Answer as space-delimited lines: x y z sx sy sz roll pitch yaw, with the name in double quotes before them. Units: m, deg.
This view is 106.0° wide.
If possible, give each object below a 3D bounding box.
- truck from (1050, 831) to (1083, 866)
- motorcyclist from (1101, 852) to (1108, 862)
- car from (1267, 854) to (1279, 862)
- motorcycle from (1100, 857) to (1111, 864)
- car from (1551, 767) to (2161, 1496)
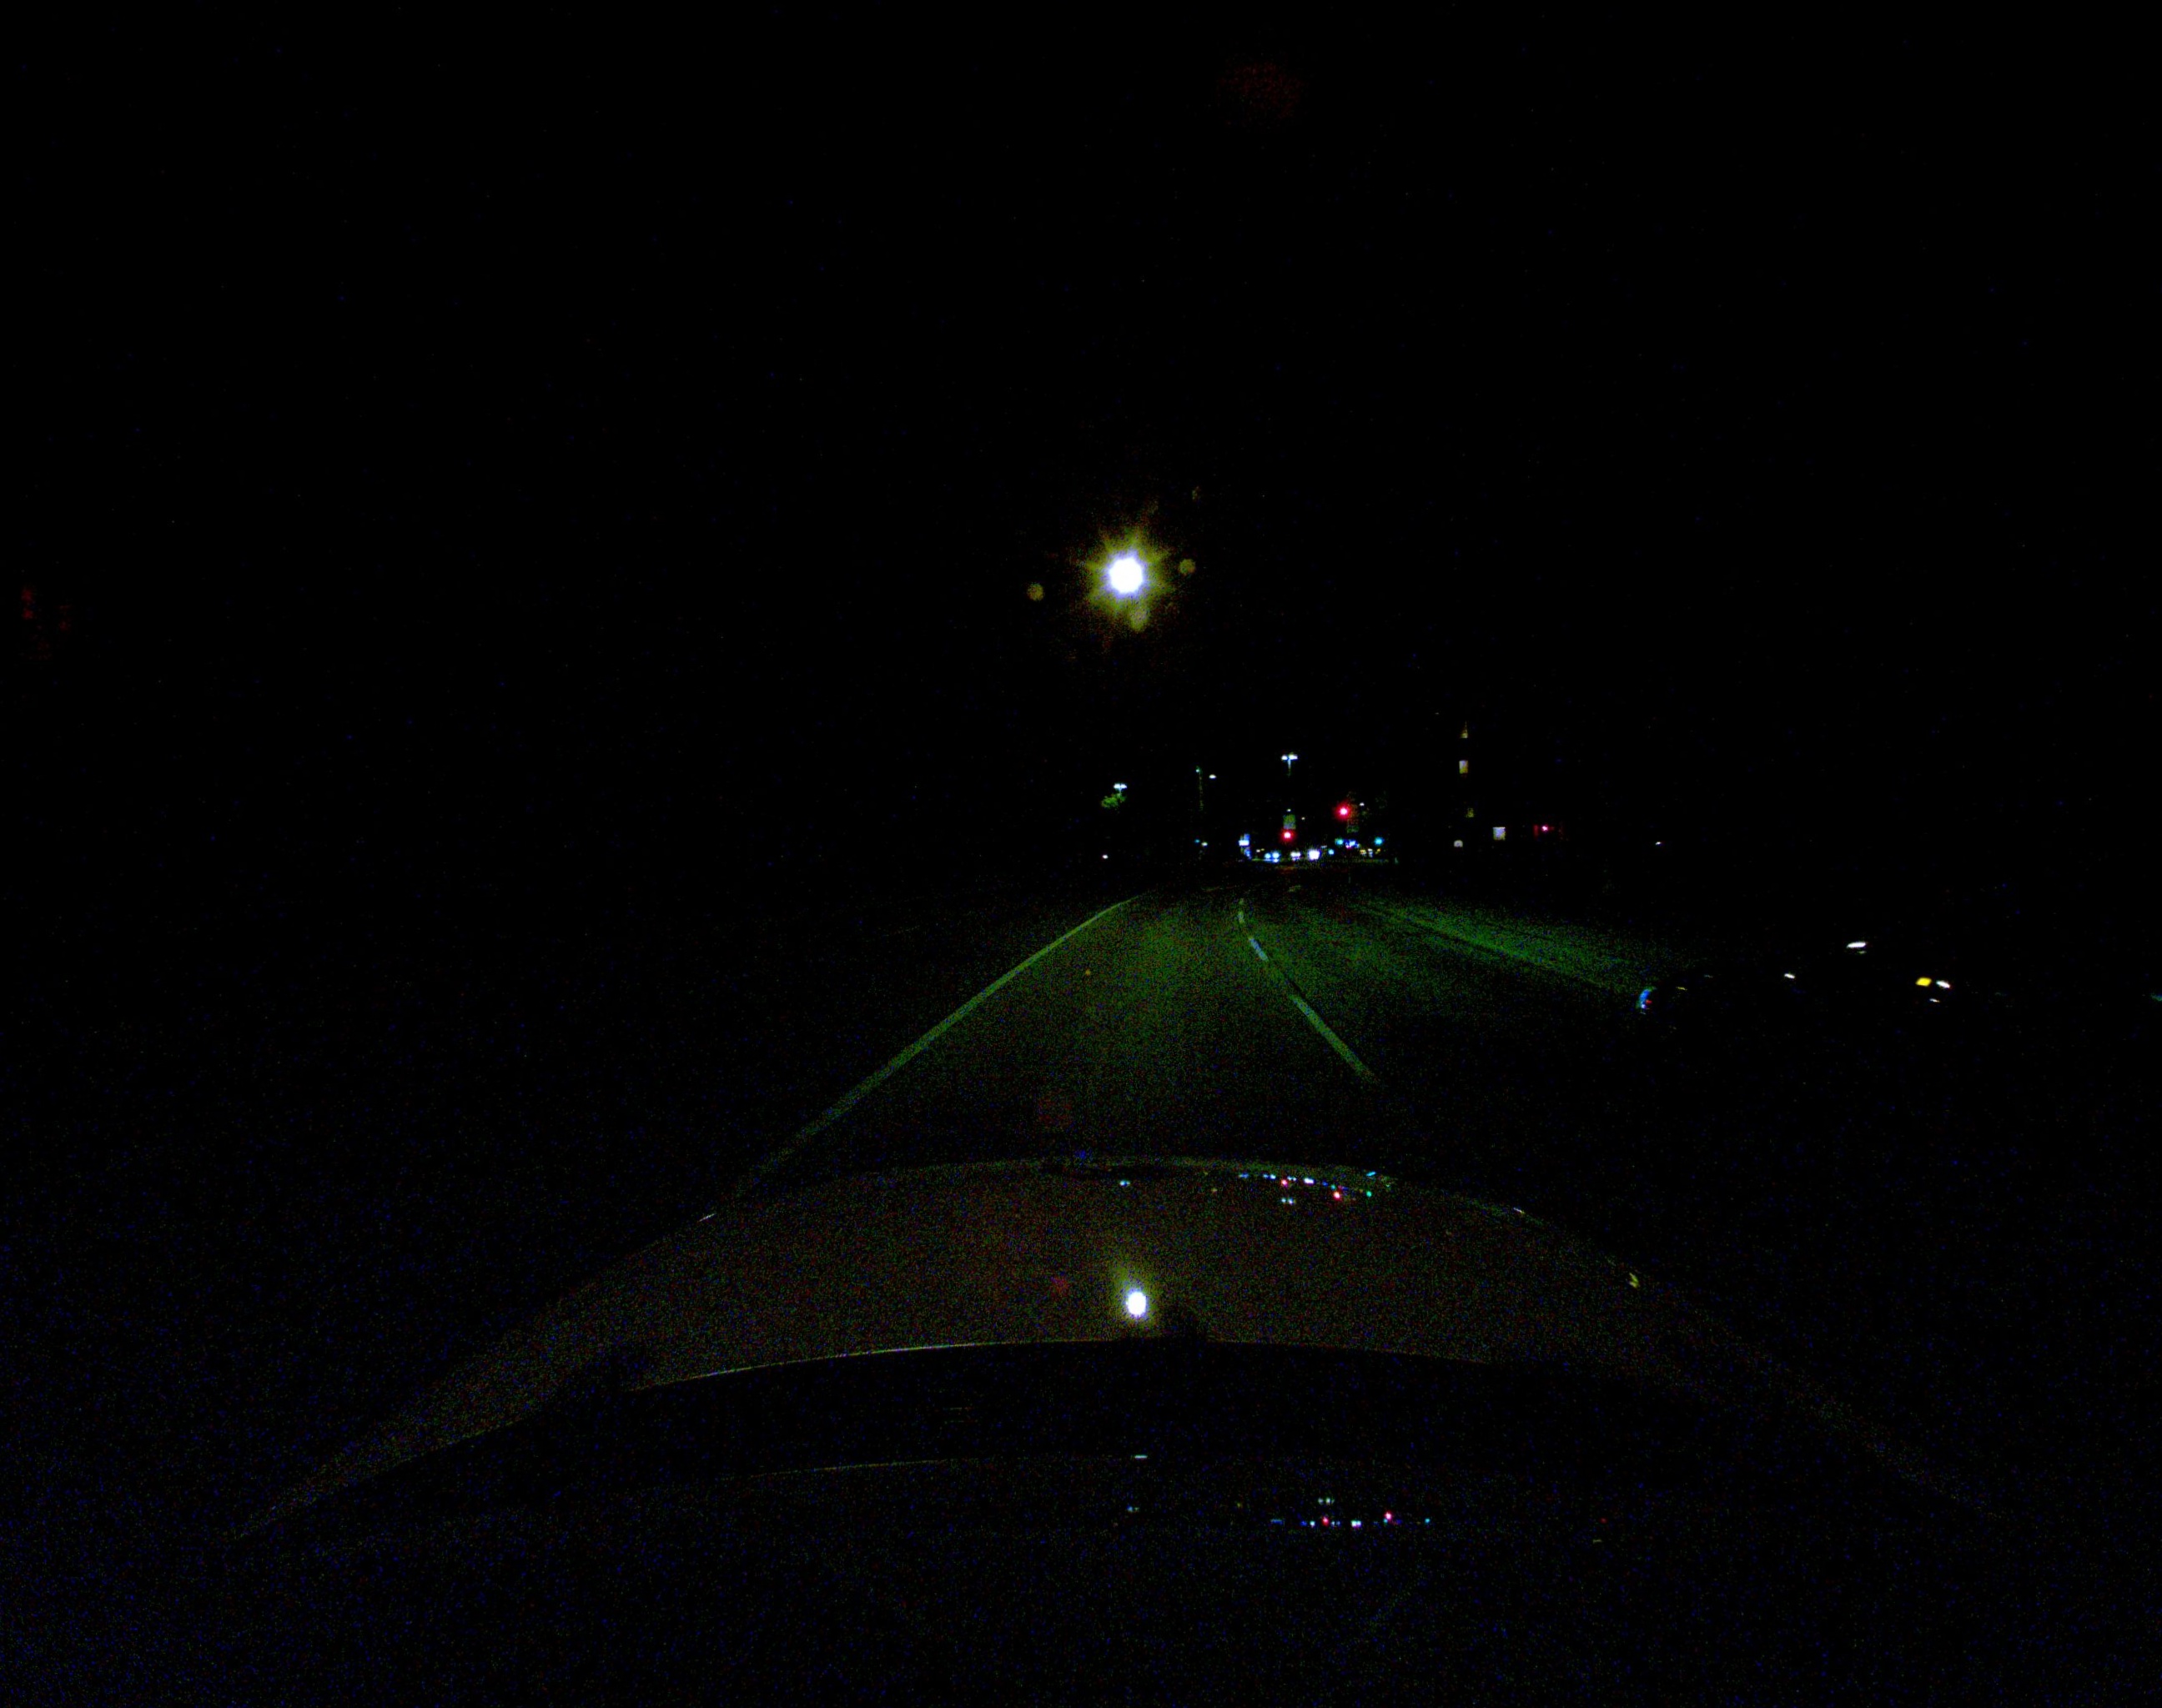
"truck" -1.699 -0.585 92.357 2.934 3.796 9.537 0 0 -6
"motorcyclist" 3.020 0.381 105.157 0.649 1.261 0.575 0 -1 -23
"car" 33.689 0.699 142.938 1.602 1.515 4.020 -1 0 20
"motorcycle" 3.135 0.885 105.471 0.580 0.896 2.139 -3 0 -22
"car" 3.232 0.616 2.142 1.664 1.610 4.231 0 0 2
